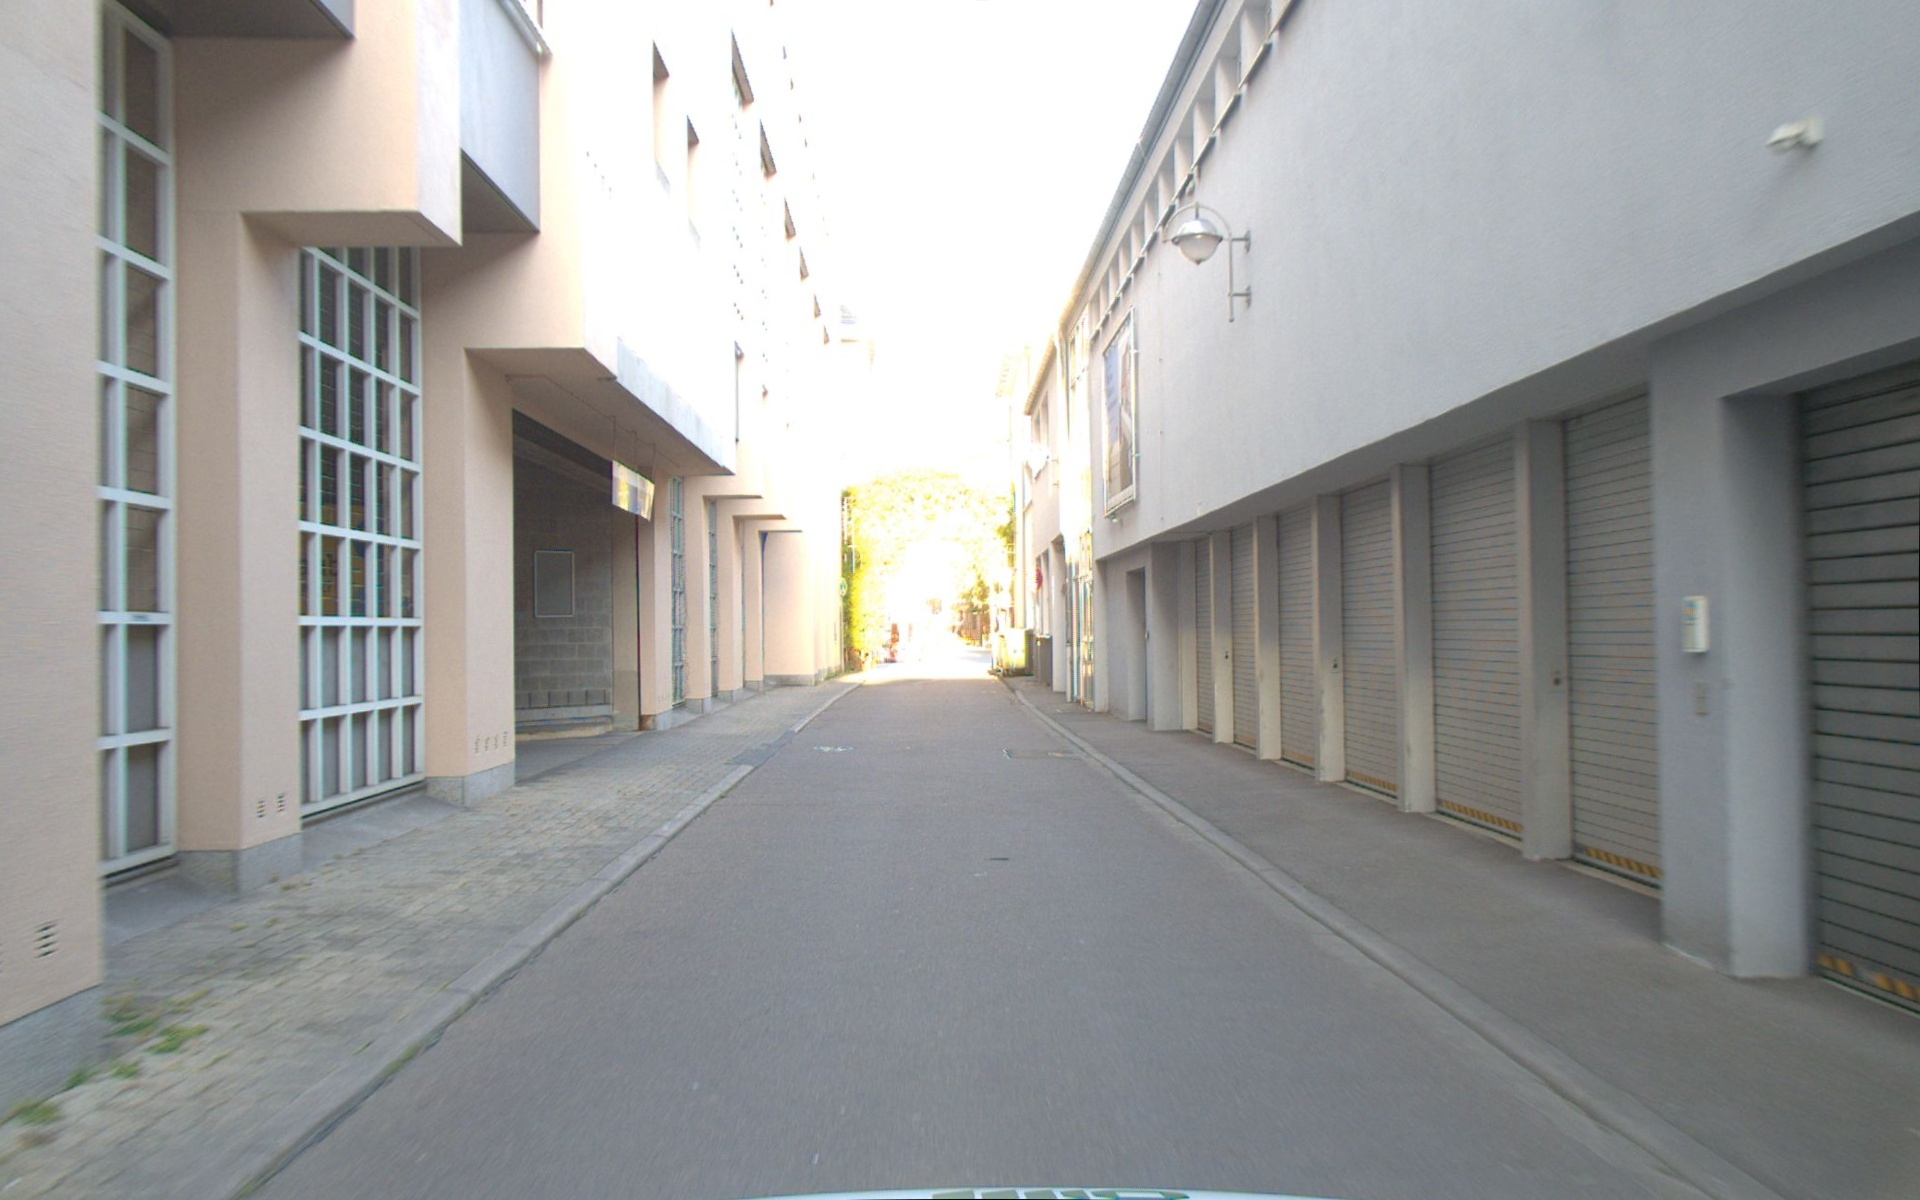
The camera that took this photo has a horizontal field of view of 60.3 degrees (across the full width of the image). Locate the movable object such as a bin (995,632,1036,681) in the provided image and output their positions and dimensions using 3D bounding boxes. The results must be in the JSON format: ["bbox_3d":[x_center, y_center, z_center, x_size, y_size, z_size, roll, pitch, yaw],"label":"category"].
[{"bbox_3d":[1.641,1.668,49.328,1.043,1.390,1.341,-3,-1,-3],"label":"movable object such as a bin"}]

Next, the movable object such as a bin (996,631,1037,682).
[{"bbox_3d":[1.633,1.629,47.924,0.919,1.390,1.340,-3,-1,-7],"label":"movable object such as a bin"}]
